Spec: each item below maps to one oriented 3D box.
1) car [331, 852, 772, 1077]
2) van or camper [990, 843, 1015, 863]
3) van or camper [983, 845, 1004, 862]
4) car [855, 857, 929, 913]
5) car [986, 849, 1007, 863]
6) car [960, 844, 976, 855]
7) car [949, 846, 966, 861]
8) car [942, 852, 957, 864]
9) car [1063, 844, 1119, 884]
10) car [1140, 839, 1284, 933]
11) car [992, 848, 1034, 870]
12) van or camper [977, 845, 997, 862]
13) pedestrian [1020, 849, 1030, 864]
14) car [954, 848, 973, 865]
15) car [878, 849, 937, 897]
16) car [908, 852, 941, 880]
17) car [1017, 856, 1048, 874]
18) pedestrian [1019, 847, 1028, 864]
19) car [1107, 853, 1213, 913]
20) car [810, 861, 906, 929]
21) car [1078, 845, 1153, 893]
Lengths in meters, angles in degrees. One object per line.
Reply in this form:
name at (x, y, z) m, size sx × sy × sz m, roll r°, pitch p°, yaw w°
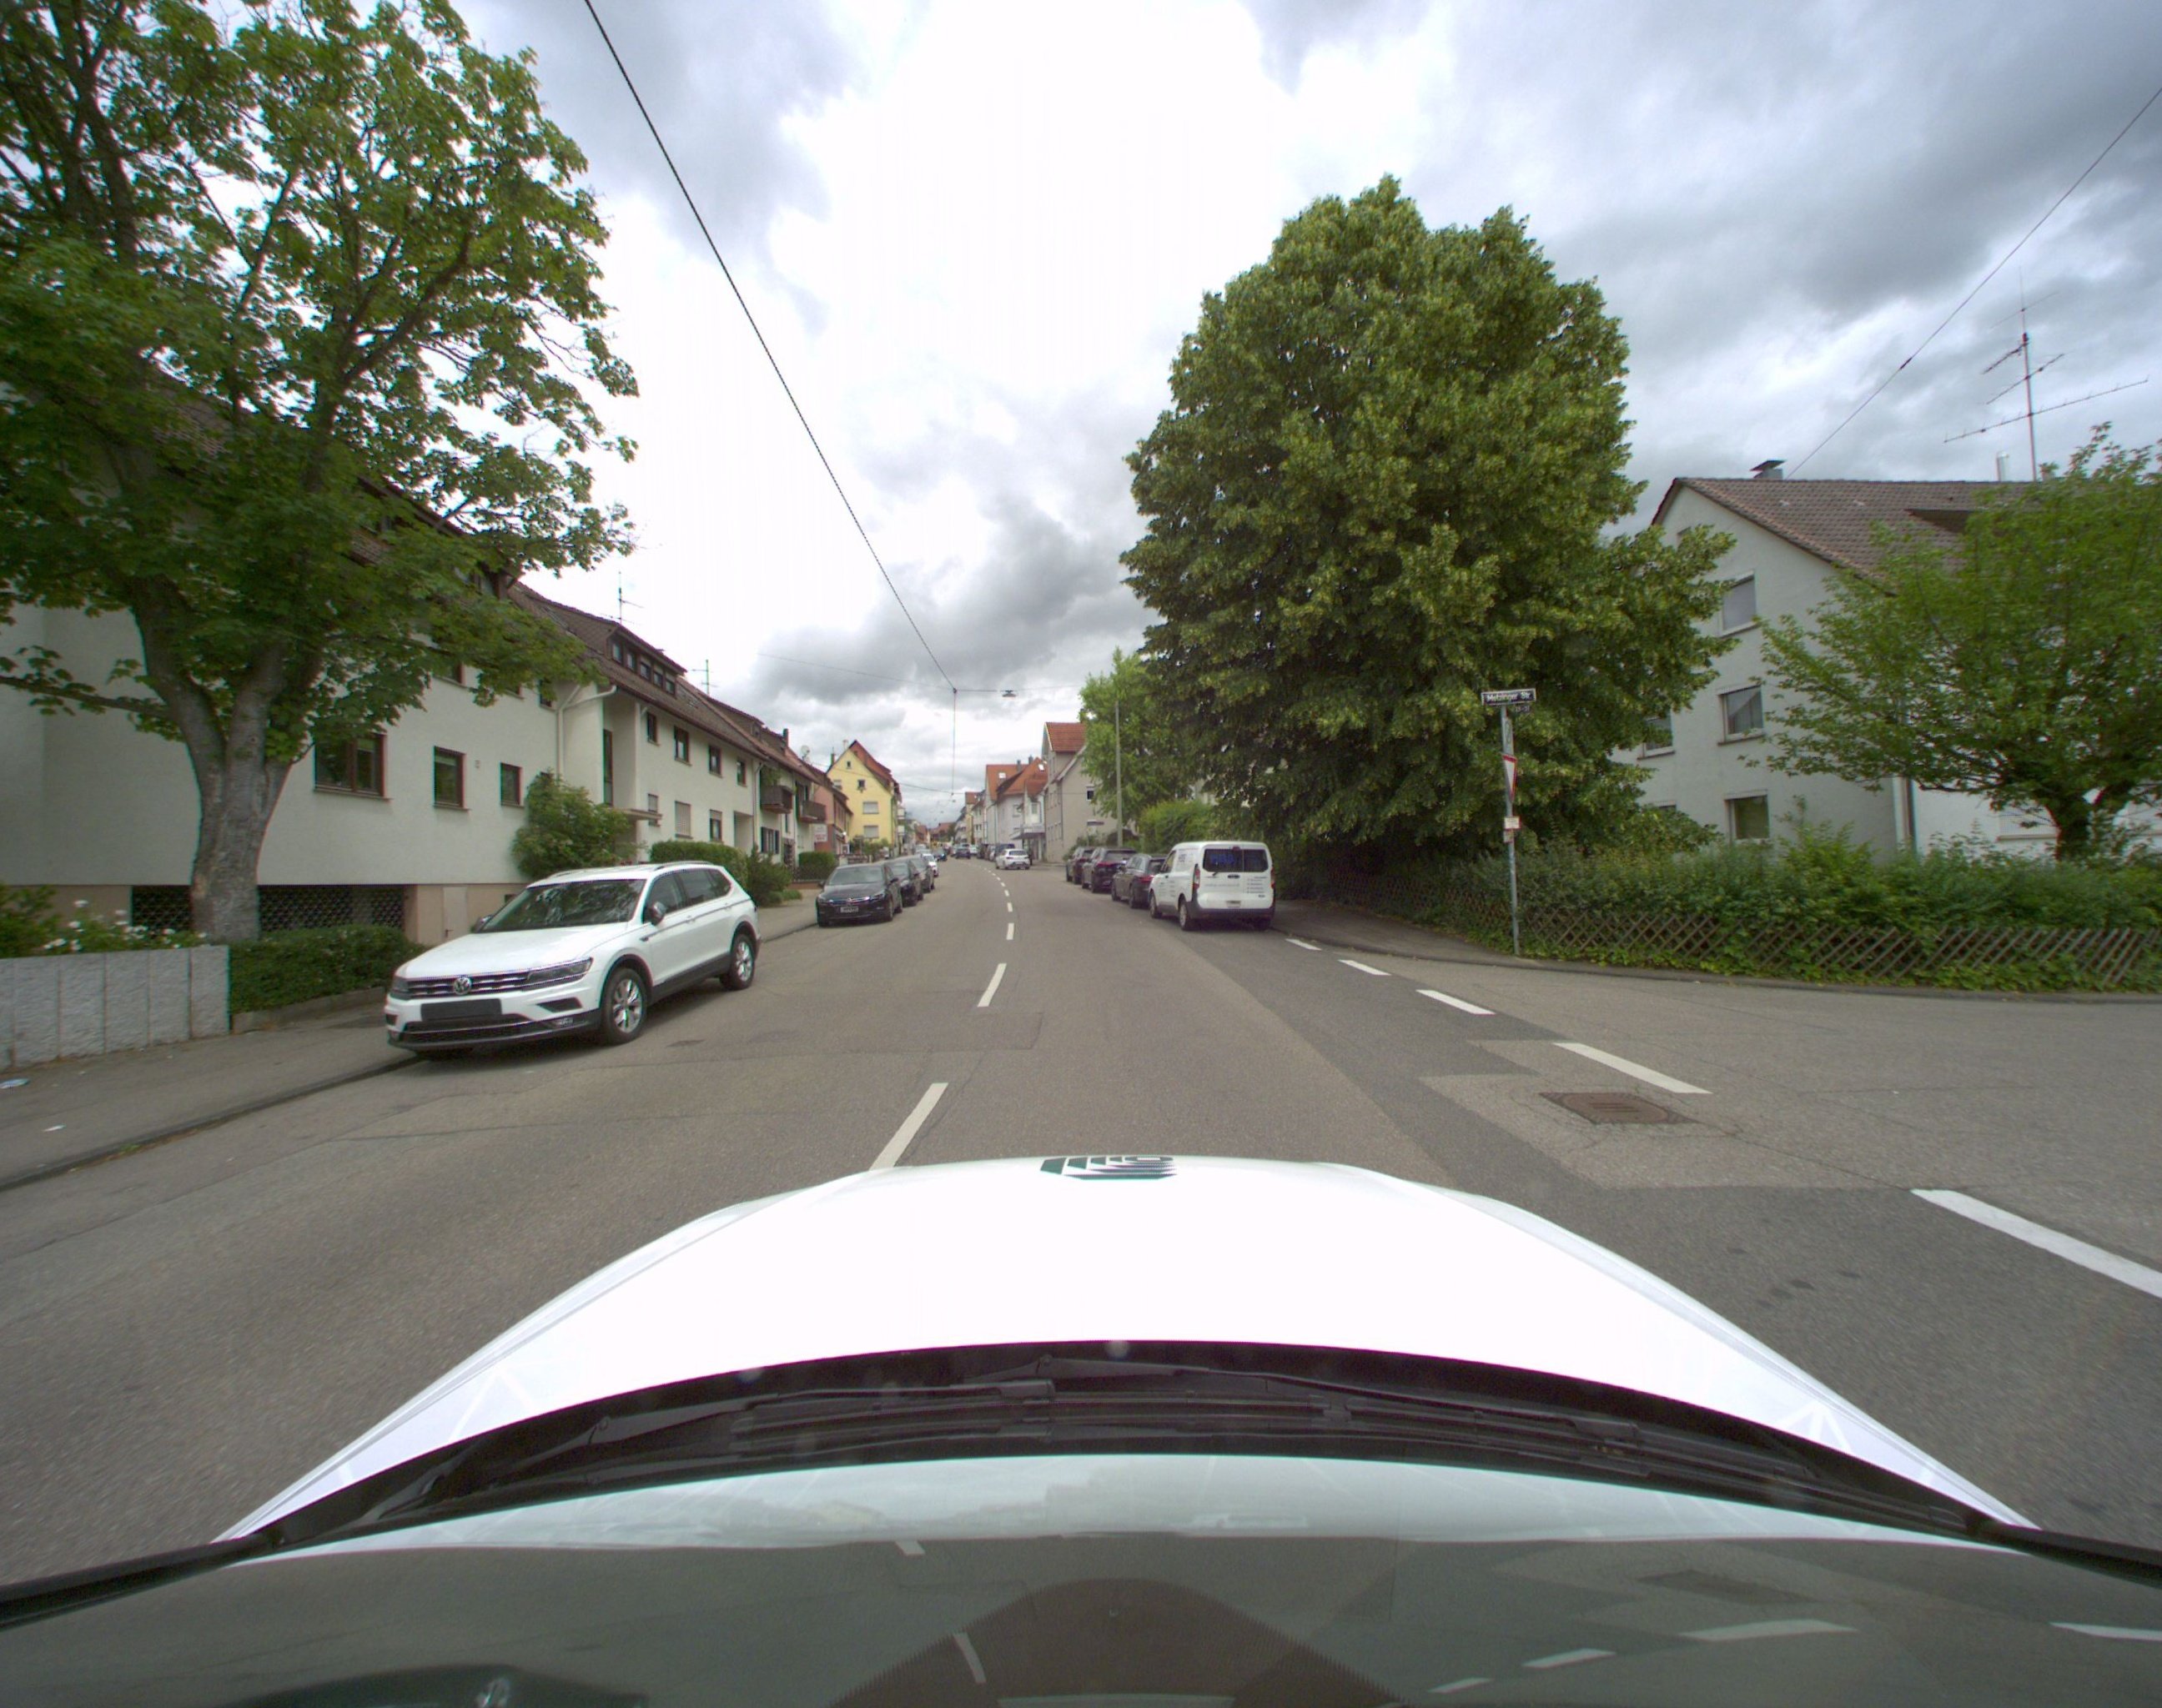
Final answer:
car at (-5.178, 0.899, 8.924) m, size 1.845 × 1.714 × 4.572 m, roll -3°, pitch 0°, yaw -2°
van or camper at (-8.021, -0.129, 83.165) m, size 1.928 × 1.925 × 4.810 m, roll -1°, pitch 0°, yaw -13°
van or camper at (-10.175, -0.057, 94.680) m, size 1.873 × 1.828 × 4.660 m, roll 1°, pitch 0°, yaw -13°
car at (-5.997, 0.928, 26.227) m, size 1.761 × 1.438 × 4.068 m, roll -5°, pitch 1°, yaw -7°
car at (-9.273, 0.203, 89.210) m, size 1.716 × 1.436 × 4.619 m, roll 0°, pitch 0°, yaw -12°
car at (-17.167, -0.673, 123.510) m, size 1.943 × 1.693 × 3.982 m, roll 1°, pitch 0°, yaw -13°
car at (-17.657, -0.077, 116.322) m, size 2.155 × 2.013 × 3.982 m, roll 0°, pitch 0°, yaw -13°
car at (-21.361, 0.649, 131.990) m, size 2.155 × 2.013 × 3.982 m, roll 0°, pitch 0°, yaw -13°
car at (0.353, 0.420, 35.430) m, size 1.809 × 1.615 × 4.527 m, roll 0°, pitch 0°, yaw -8°
car at (2.652, 0.586, 17.605) m, size 1.837 × 1.774 × 4.304 m, roll 1°, pitch 0°, yaw -9°
car at (-4.734, 0.328, 56.531) m, size 1.947 × 1.439 × 3.973 m, roll -1°, pitch 0°, yaw -20°
van or camper at (-11.845, -0.047, 102.245) m, size 1.995 × 2.065 × 5.920 m, roll 1°, pitch 0°, yaw -12°
pedestrian at (-6.461, 0.336, 94.171) m, size 0.862 × 1.725 × 0.623 m, roll -1°, pitch 0°, yaw 23°
car at (-14.787, 0.329, 102.423) m, size 2.155 × 2.013 × 3.982 m, roll 0°, pitch 0°, yaw -13°
car at (-7.042, 0.705, 33.417) m, size 1.845 × 1.680 × 4.775 m, roll -4°, pitch 1°, yaw -7°
car at (-9.457, 0.695, 49.390) m, size 1.726 × 1.458 × 3.886 m, roll -5°, pitch 1°, yaw -10°
car at (-4.330, 0.946, 72.204) m, size 1.995 × 1.517 × 4.871 m, roll 0°, pitch 0°, yaw -12°
pedestrian at (-6.756, 0.155, 95.603) m, size 0.752 × 2.013 × 0.623 m, roll -1°, pitch 0°, yaw 23°
car at (2.108, 0.753, 23.133) m, size 1.992 × 1.478 × 4.608 m, roll -2°, pitch 0°, yaw -8°
car at (-5.625, 0.961, 21.002) m, size 1.761 × 1.438 × 4.067 m, roll -3°, pitch 1°, yaw -8°
car at (1.176, 0.519, 29.814) m, size 1.992 × 1.615 × 4.527 m, roll 0°, pitch 0°, yaw -8°
